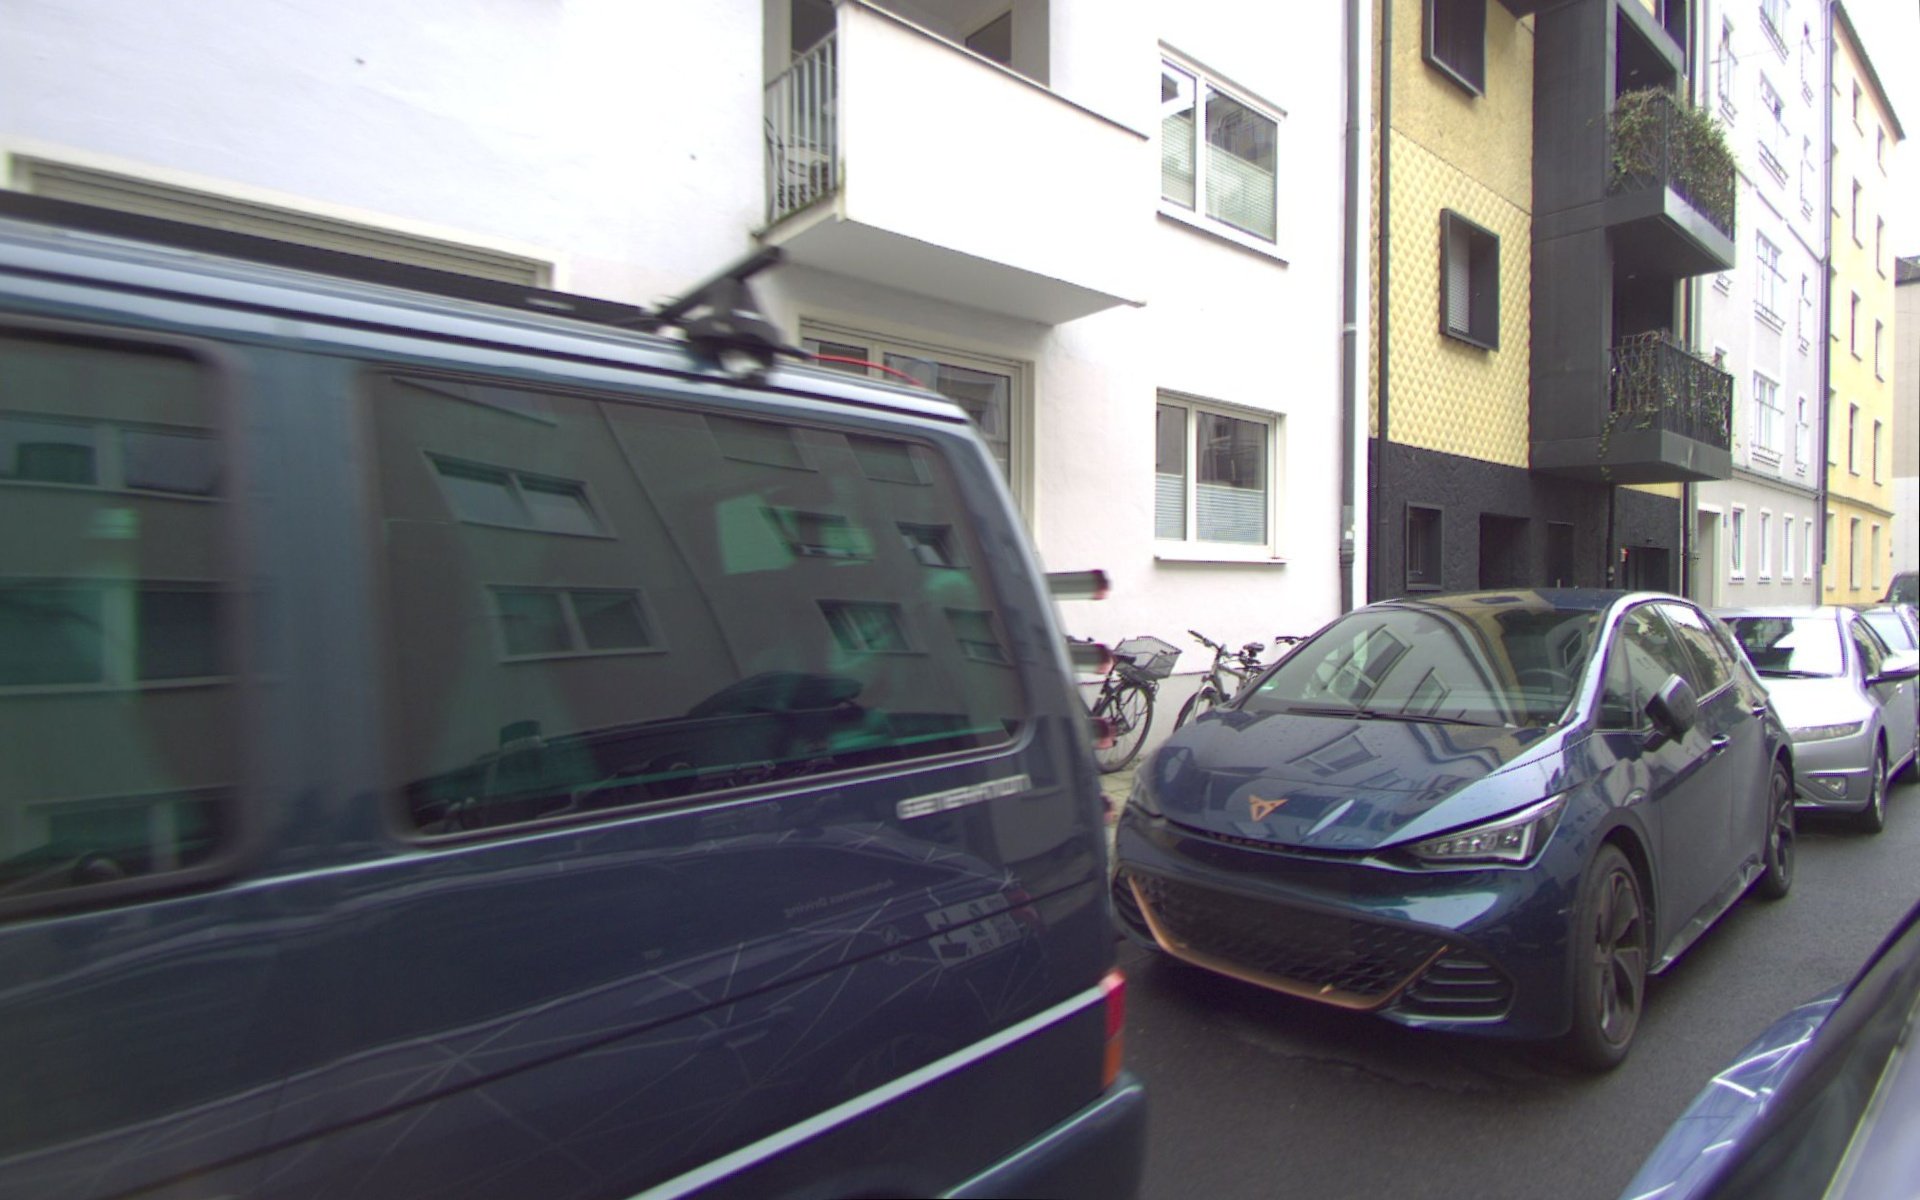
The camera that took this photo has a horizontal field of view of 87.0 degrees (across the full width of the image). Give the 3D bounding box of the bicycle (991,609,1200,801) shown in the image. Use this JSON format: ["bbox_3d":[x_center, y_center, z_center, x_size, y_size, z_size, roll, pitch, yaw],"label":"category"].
[{"bbox_3d":[0.968,0.659,7.006,1.536,1.165,0.571,0,0,-41],"label":"bicycle"}]

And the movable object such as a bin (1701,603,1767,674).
[{"bbox_3d":[13.141,0.641,17.195,0.564,1.154,0.796,-1,1,-41],"label":"movable object such as a bin"}]

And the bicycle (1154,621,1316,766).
[{"bbox_3d":[2.213,0.692,8.039,1.525,1.015,0.478,0,0,-41],"label":"bicycle"}]

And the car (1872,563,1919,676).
[{"bbox_3d":[17.982,0.274,17.987,5.094,1.862,1.985,-1,0,-41],"label":"car"}]

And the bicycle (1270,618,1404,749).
[{"bbox_3d":[3.413,0.708,9.114,1.495,1.061,0.478,0,0,-41],"label":"bicycle"}]

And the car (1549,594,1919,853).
[{"bbox_3d":[6.342,0.730,7.929,4.189,1.449,1.761,-1,-1,-42],"label":"car"}]

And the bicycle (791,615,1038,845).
[{"bbox_3d":[-0.238,0.689,5.954,1.405,1.165,0.571,0,0,-41],"label":"bicycle"}]

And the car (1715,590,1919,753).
[{"bbox_3d":[9.914,0.637,11.185,4.131,1.447,1.737,-1,2,-42],"label":"car"}]

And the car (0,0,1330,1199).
[{"bbox_3d":[-1.701,0.482,1.040,4.699,1.813,1.878,-1,2,-41],"label":"car"}]

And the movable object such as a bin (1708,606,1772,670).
[{"bbox_3d":[13.553,0.645,17.590,0.536,1.067,0.796,-1,1,-41],"label":"movable object such as a bin"}]

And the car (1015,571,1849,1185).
[{"bbox_3d":[2.548,0.658,4.804,4.544,1.573,1.909,-1,2,-41],"label":"car"}]
